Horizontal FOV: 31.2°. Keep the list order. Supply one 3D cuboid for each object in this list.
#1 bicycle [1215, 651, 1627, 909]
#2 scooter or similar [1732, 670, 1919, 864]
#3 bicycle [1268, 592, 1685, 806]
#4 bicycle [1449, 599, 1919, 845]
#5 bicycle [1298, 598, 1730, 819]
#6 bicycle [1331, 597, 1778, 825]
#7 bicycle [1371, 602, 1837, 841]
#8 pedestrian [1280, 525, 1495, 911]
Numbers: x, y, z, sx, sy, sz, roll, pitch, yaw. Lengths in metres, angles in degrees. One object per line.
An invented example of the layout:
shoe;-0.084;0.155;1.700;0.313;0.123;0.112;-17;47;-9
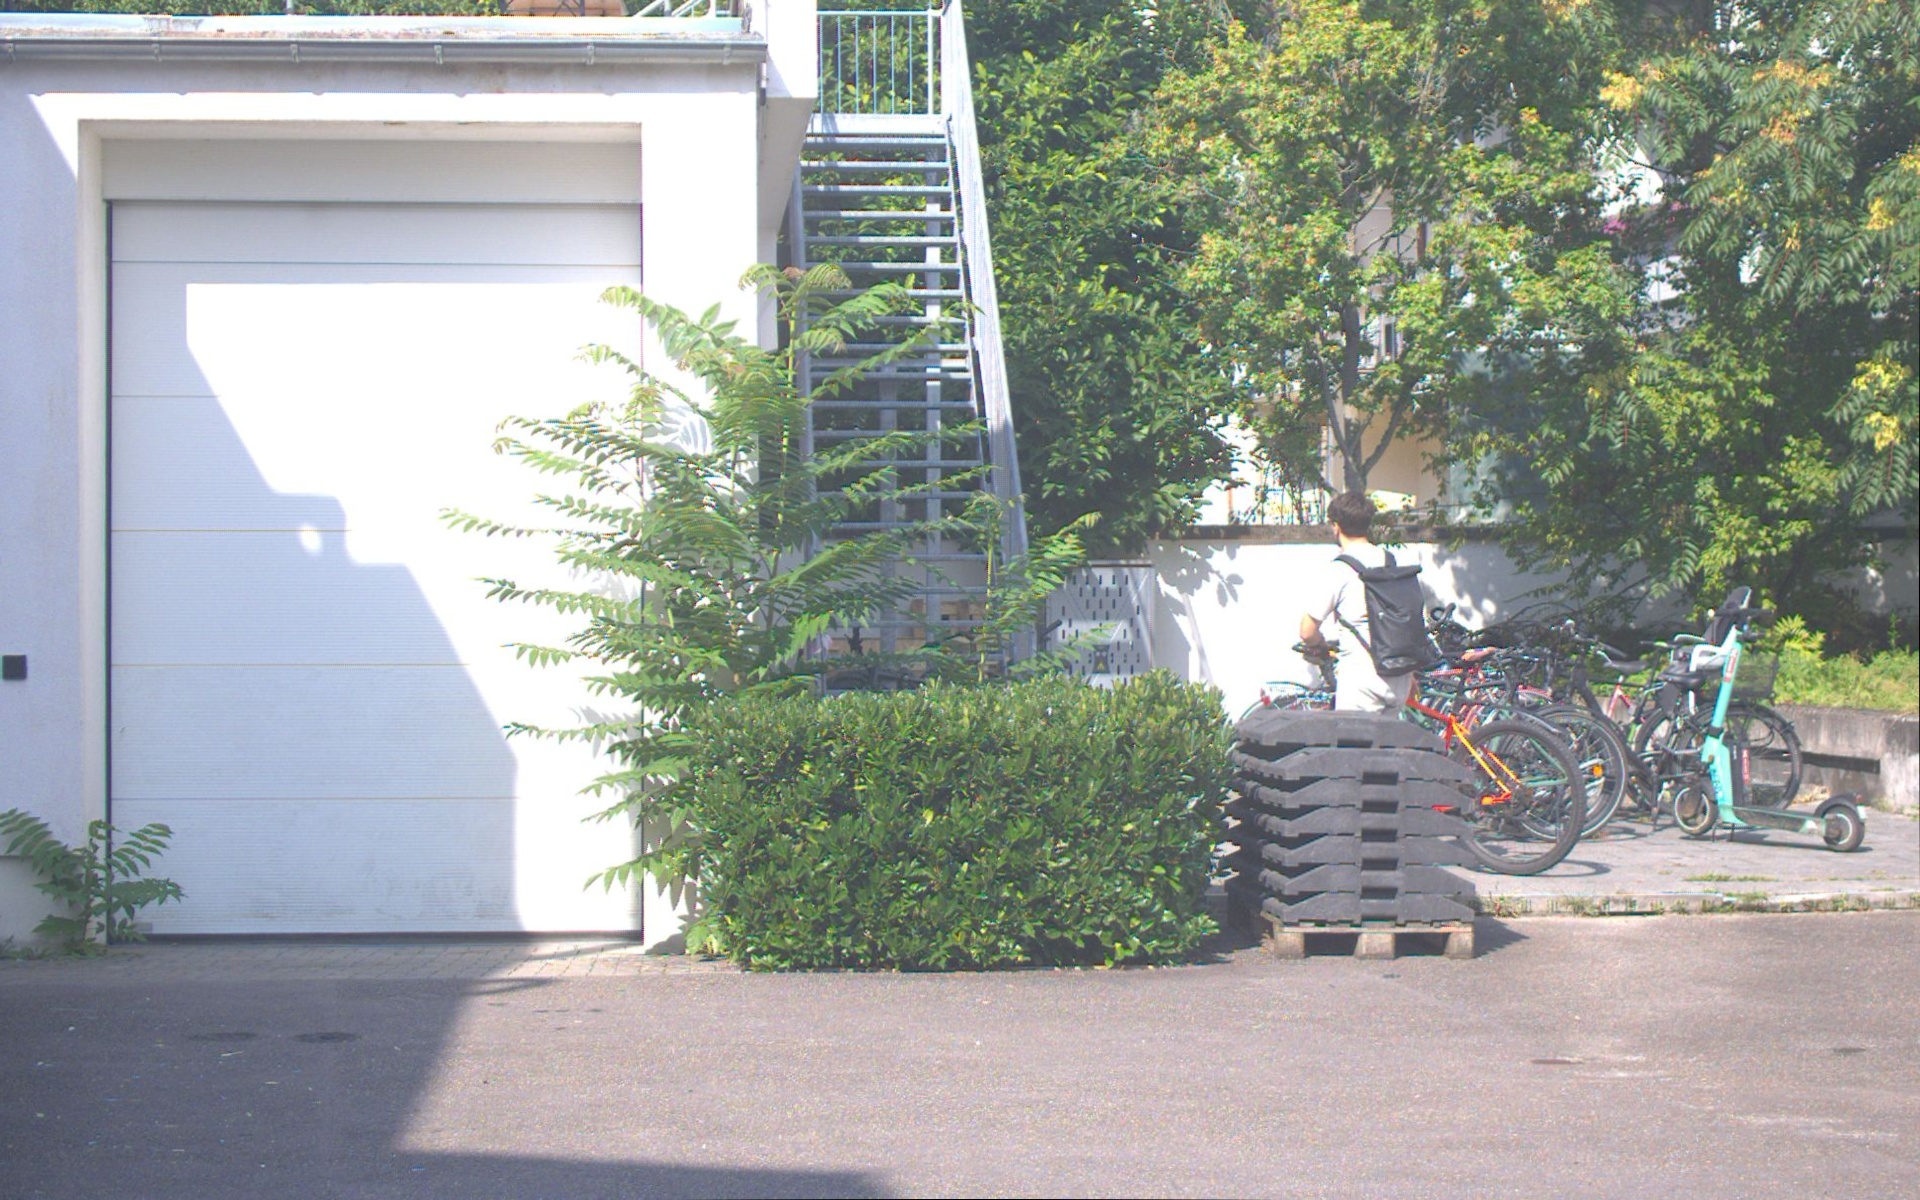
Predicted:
bicycle;2.195;0.838;16.560;1.992;1.140;0.489;0;1;39
scooter or similar;4.457;0.836;17.481;0.359;0.921;0.999;0;1;-42
bicycle;3.099;0.592;20.709;2.410;1.242;0.526;1;0;-4
bicycle;3.811;0.632;17.959;2.410;1.242;0.526;1;0;-4
bicycle;3.213;0.626;20.001;2.410;1.242;0.526;1;0;-4
bicycle;3.344;0.621;19.393;2.410;1.242;0.526;1;0;-4
bicycle;3.473;0.652;18.603;2.410;1.242;0.526;1;0;-4
pedestrian;2.028;0.537;16.276;0.610;1.765;0.859;1;0;41
